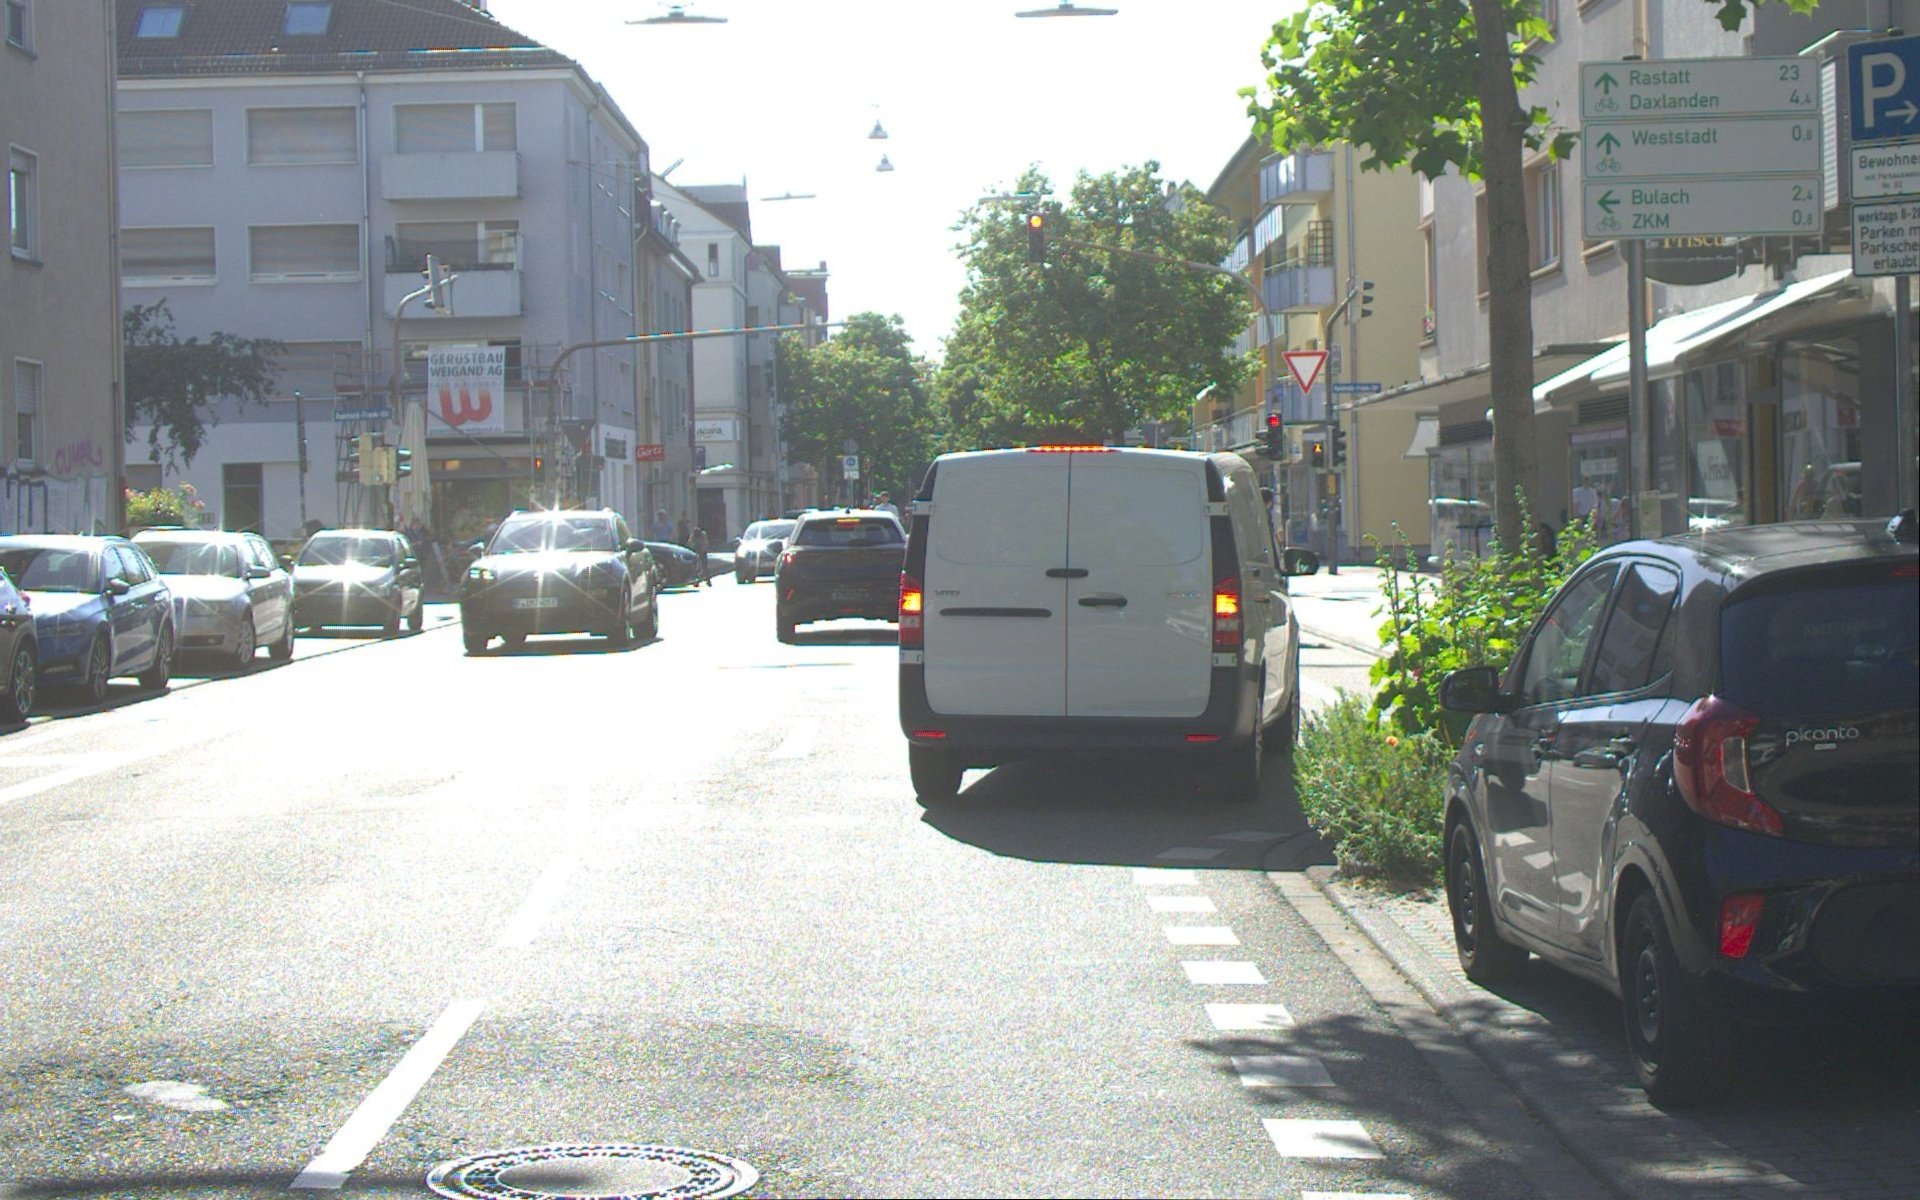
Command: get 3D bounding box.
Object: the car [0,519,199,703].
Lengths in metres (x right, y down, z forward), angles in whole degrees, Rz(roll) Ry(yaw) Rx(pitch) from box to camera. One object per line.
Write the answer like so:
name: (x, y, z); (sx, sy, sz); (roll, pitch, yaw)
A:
car: (-8.373, 0.036, 31.638); (1.721, 1.491, 4.626); (2, 1, -1)

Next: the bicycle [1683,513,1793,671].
bicycle: (6.433, -0.087, 28.503); (0.548, 1.265, 1.883); (-1, 1, 2)

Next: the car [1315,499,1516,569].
car: (8.980, -1.312, 67.977); (3.712, 1.299, 1.690); (-1, 1, 0)

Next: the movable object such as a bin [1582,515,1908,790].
movable object such as a bin: (4.091, 0.248, 17.911); (1.268, 1.343, 1.108); (-2, 2, -42)

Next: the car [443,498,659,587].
car: (-7.824, -1.116, 66.079); (3.986, 1.634, 2.000); (-1, 1, -4)

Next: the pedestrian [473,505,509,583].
pedestrian: (-10.115, -1.208, 74.168); (0.683, 1.658, 0.601); (-1, 1, -2)

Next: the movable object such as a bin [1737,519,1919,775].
movable object such as a bin: (5.009, 0.234, 18.945); (1.040, 1.343, 1.106); (1, 2, 38)

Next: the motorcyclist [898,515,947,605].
motorcyclist: (-0.523, -0.559, 47.709); (0.658, 1.223, 0.694); (-1, 1, -2)

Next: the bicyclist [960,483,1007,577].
bicyclist: (0.364, -1.078, 53.059); (0.683, 1.444, 0.940); (-1, 1, -2)

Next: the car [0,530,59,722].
car: (-8.573, 0.194, 26.555); (1.993, 1.491, 4.228); (2, 1, 1)

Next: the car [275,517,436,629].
car: (-8.432, -0.408, 48.256); (1.653, 1.474, 4.001); (1, 1, -2)

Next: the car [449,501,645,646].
car: (-4.904, -0.357, 41.357); (1.867, 1.608, 4.428); (-1, 1, -1)

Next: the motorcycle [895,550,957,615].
motorcycle: (-0.484, -0.254, 48.074); (0.807, 0.860, 1.823); (-1, 1, -2)

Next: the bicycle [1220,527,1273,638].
bicycle: (3.353, -0.210, 40.260); (0.475, 1.270, 1.218); (-1, 1, -1)

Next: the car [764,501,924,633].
car: (-1.410, -0.436, 42.028); (1.844, 1.502, 4.001); (-1, 2, -2)

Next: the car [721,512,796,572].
car: (-4.782, -1.396, 81.988); (1.618, 1.393, 3.731); (0, 1, -1)

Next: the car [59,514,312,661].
car: (-8.467, -0.187, 37.971); (1.776, 1.464, 4.760); (2, 1, -1)

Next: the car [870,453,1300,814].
car: (0.847, 0.113, 19.693); (1.985, 1.816, 4.545); (0, 2, 8)

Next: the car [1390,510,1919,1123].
car: (2.397, 0.483, 10.215); (1.635, 1.470, 3.581); (-1, 1, -2)

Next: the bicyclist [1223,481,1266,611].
bicyclist: (3.308, -0.631, 39.973); (0.439, 1.503, 0.497); (-1, 1, -1)

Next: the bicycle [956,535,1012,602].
bicycle: (0.362, -0.496, 52.852); (0.775, 0.989, 1.717); (-1, 1, -2)
